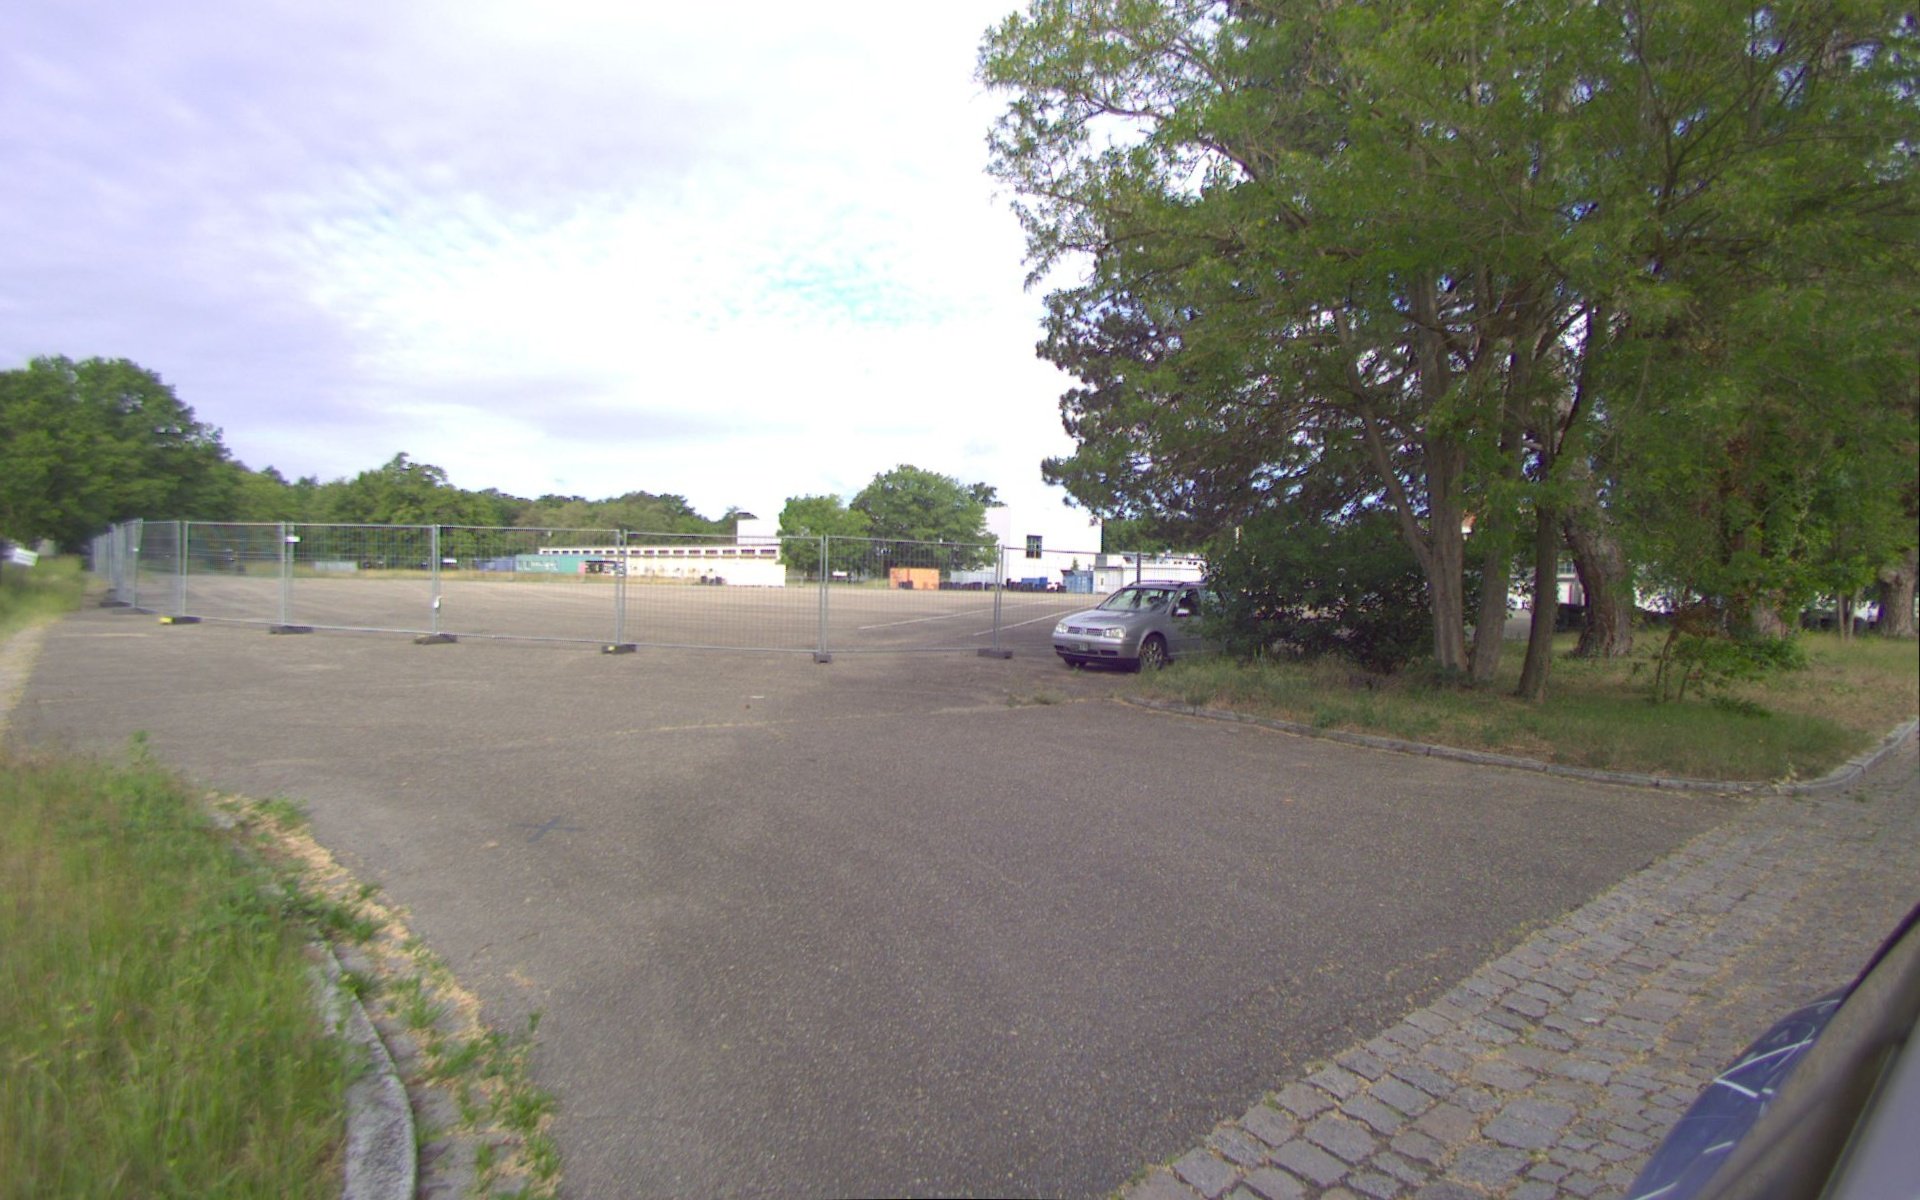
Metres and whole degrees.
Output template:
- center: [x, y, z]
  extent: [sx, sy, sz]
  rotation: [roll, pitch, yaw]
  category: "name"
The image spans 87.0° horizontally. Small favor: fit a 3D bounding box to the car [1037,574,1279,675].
- center: [3.440, 0.365, 17.158]
  extent: [4.251, 1.466, 1.758]
  rotation: [1, 2, -41]
  category: "car"
